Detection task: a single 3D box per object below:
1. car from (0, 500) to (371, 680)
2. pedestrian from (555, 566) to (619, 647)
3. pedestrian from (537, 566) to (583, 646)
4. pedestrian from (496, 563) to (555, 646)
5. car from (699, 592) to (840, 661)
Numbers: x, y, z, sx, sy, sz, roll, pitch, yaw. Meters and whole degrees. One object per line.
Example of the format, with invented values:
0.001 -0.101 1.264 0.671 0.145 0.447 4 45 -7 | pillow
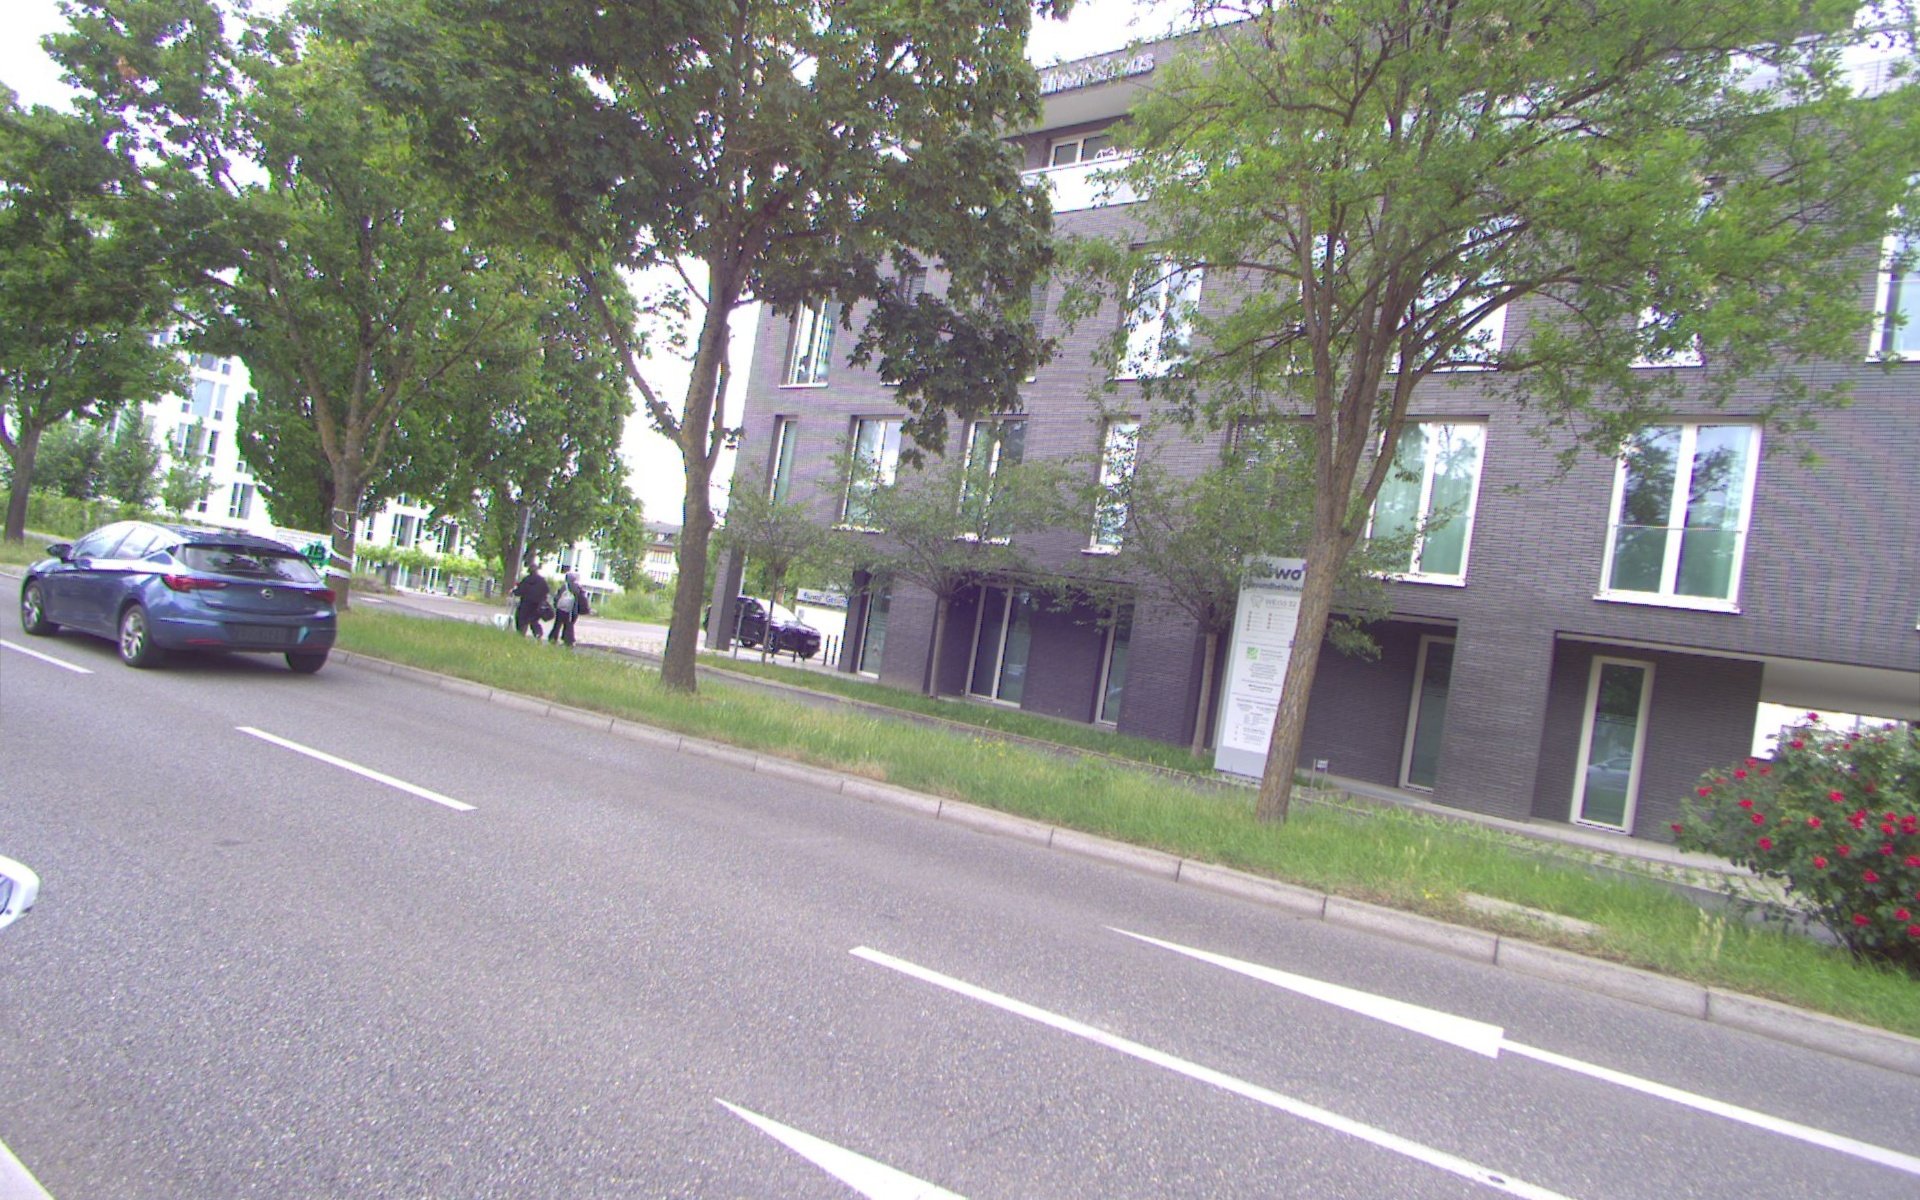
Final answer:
-8.873 -0.136 11.338 4.240 1.457 1.970 7 0 31 | car
-8.047 0.137 21.714 0.732 1.560 0.593 7 -13 37 | pedestrian
-8.289 0.129 20.852 0.553 1.568 0.410 5 -5 37 | pedestrian
-8.792 0.092 20.375 0.578 1.570 0.726 7 -2 37 | pedestrian
-6.034 0.811 31.766 4.112 1.569 1.828 7 -2 34 | car
